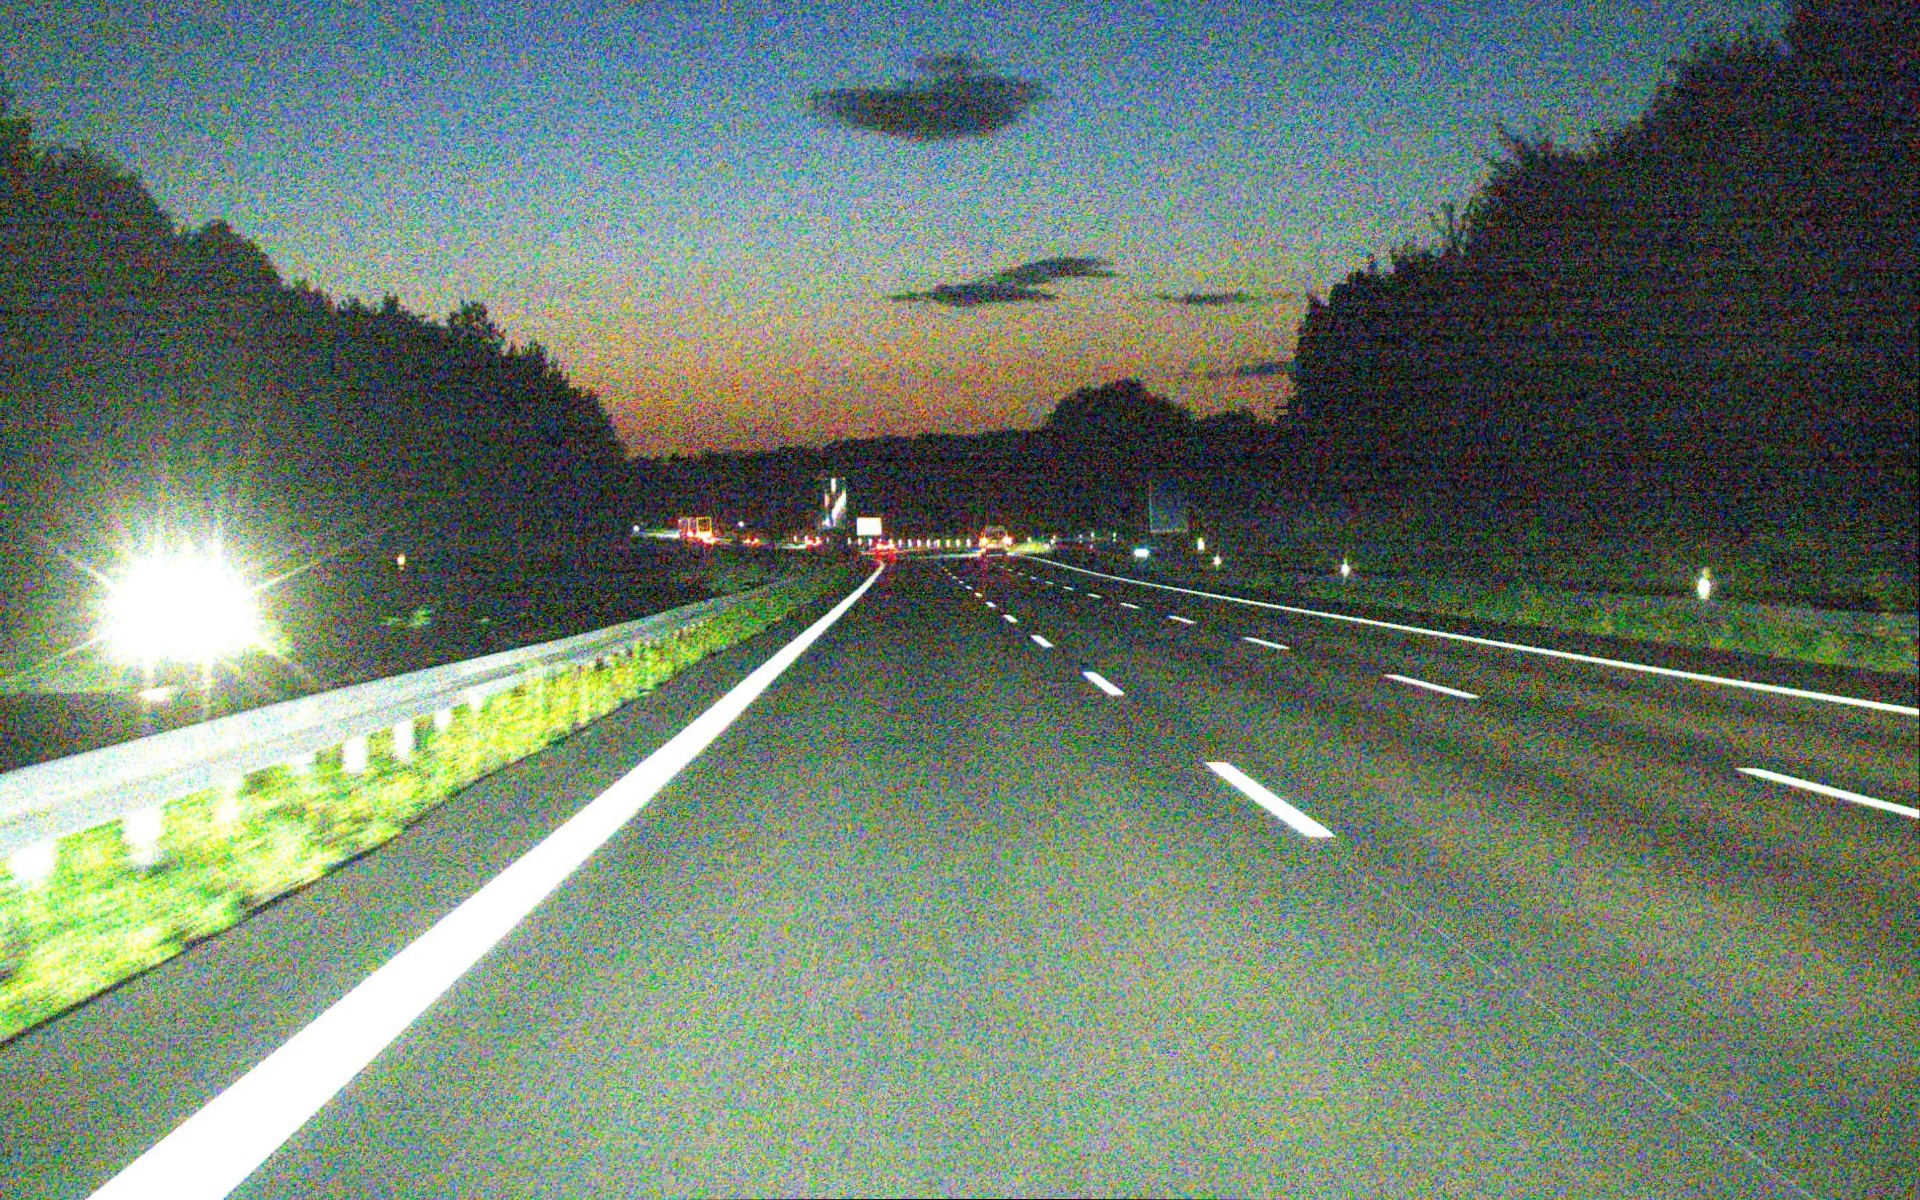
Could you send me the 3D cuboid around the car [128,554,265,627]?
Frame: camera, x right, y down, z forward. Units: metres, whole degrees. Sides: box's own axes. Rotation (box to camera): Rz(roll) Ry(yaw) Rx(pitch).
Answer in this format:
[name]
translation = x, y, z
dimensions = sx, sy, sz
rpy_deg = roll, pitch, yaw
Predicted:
[car]
translation = -17.426, -0.247, 78.712
dimensions = 1.993, 1.498, 5.201
rpy_deg = -2, 1, -1
